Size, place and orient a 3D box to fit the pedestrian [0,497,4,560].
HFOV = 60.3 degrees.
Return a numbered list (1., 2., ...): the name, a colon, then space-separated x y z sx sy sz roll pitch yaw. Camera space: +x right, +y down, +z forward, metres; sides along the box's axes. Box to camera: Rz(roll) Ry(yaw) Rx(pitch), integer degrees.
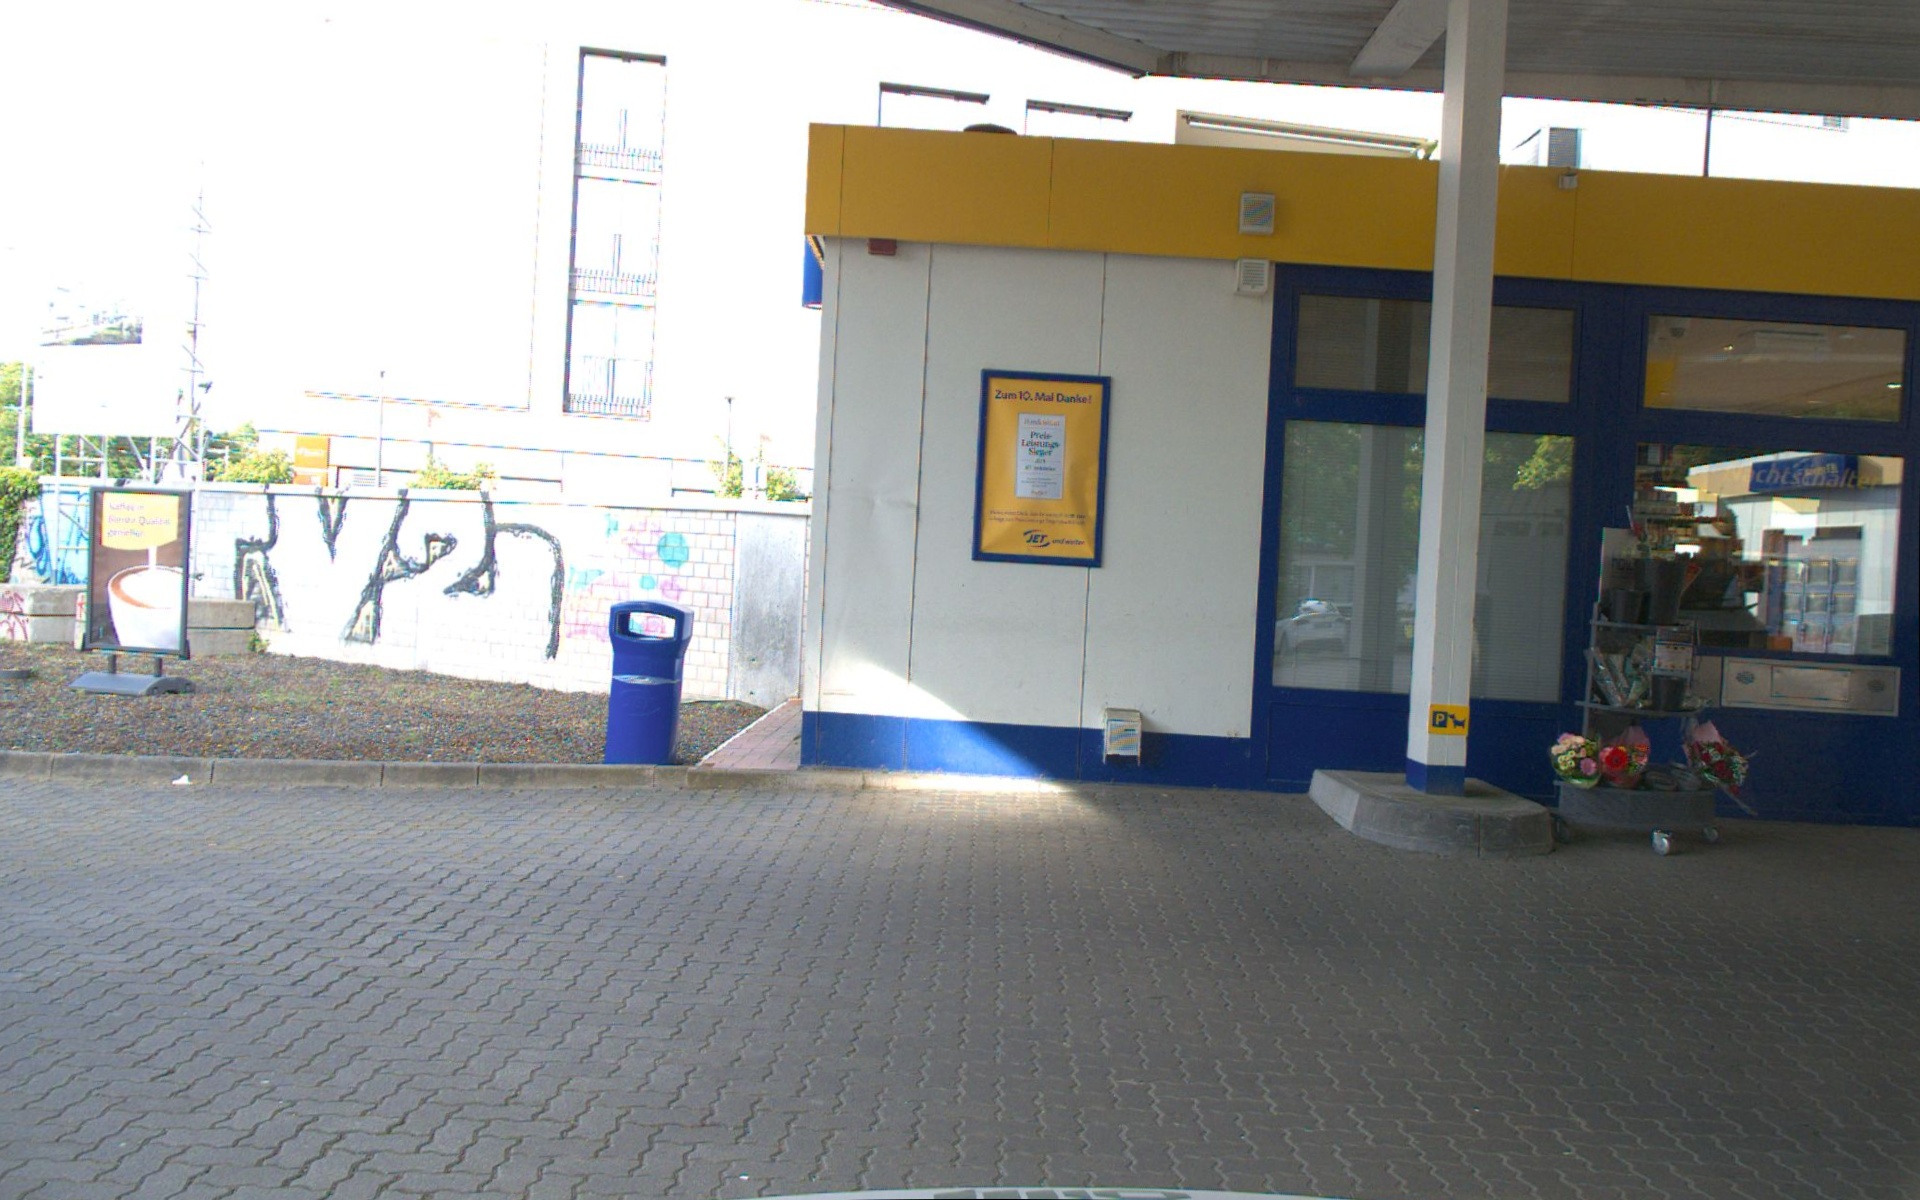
1. pedestrian: -31.964 -2.358 54.295 0.793 2.049 0.847 1 -1 -17
